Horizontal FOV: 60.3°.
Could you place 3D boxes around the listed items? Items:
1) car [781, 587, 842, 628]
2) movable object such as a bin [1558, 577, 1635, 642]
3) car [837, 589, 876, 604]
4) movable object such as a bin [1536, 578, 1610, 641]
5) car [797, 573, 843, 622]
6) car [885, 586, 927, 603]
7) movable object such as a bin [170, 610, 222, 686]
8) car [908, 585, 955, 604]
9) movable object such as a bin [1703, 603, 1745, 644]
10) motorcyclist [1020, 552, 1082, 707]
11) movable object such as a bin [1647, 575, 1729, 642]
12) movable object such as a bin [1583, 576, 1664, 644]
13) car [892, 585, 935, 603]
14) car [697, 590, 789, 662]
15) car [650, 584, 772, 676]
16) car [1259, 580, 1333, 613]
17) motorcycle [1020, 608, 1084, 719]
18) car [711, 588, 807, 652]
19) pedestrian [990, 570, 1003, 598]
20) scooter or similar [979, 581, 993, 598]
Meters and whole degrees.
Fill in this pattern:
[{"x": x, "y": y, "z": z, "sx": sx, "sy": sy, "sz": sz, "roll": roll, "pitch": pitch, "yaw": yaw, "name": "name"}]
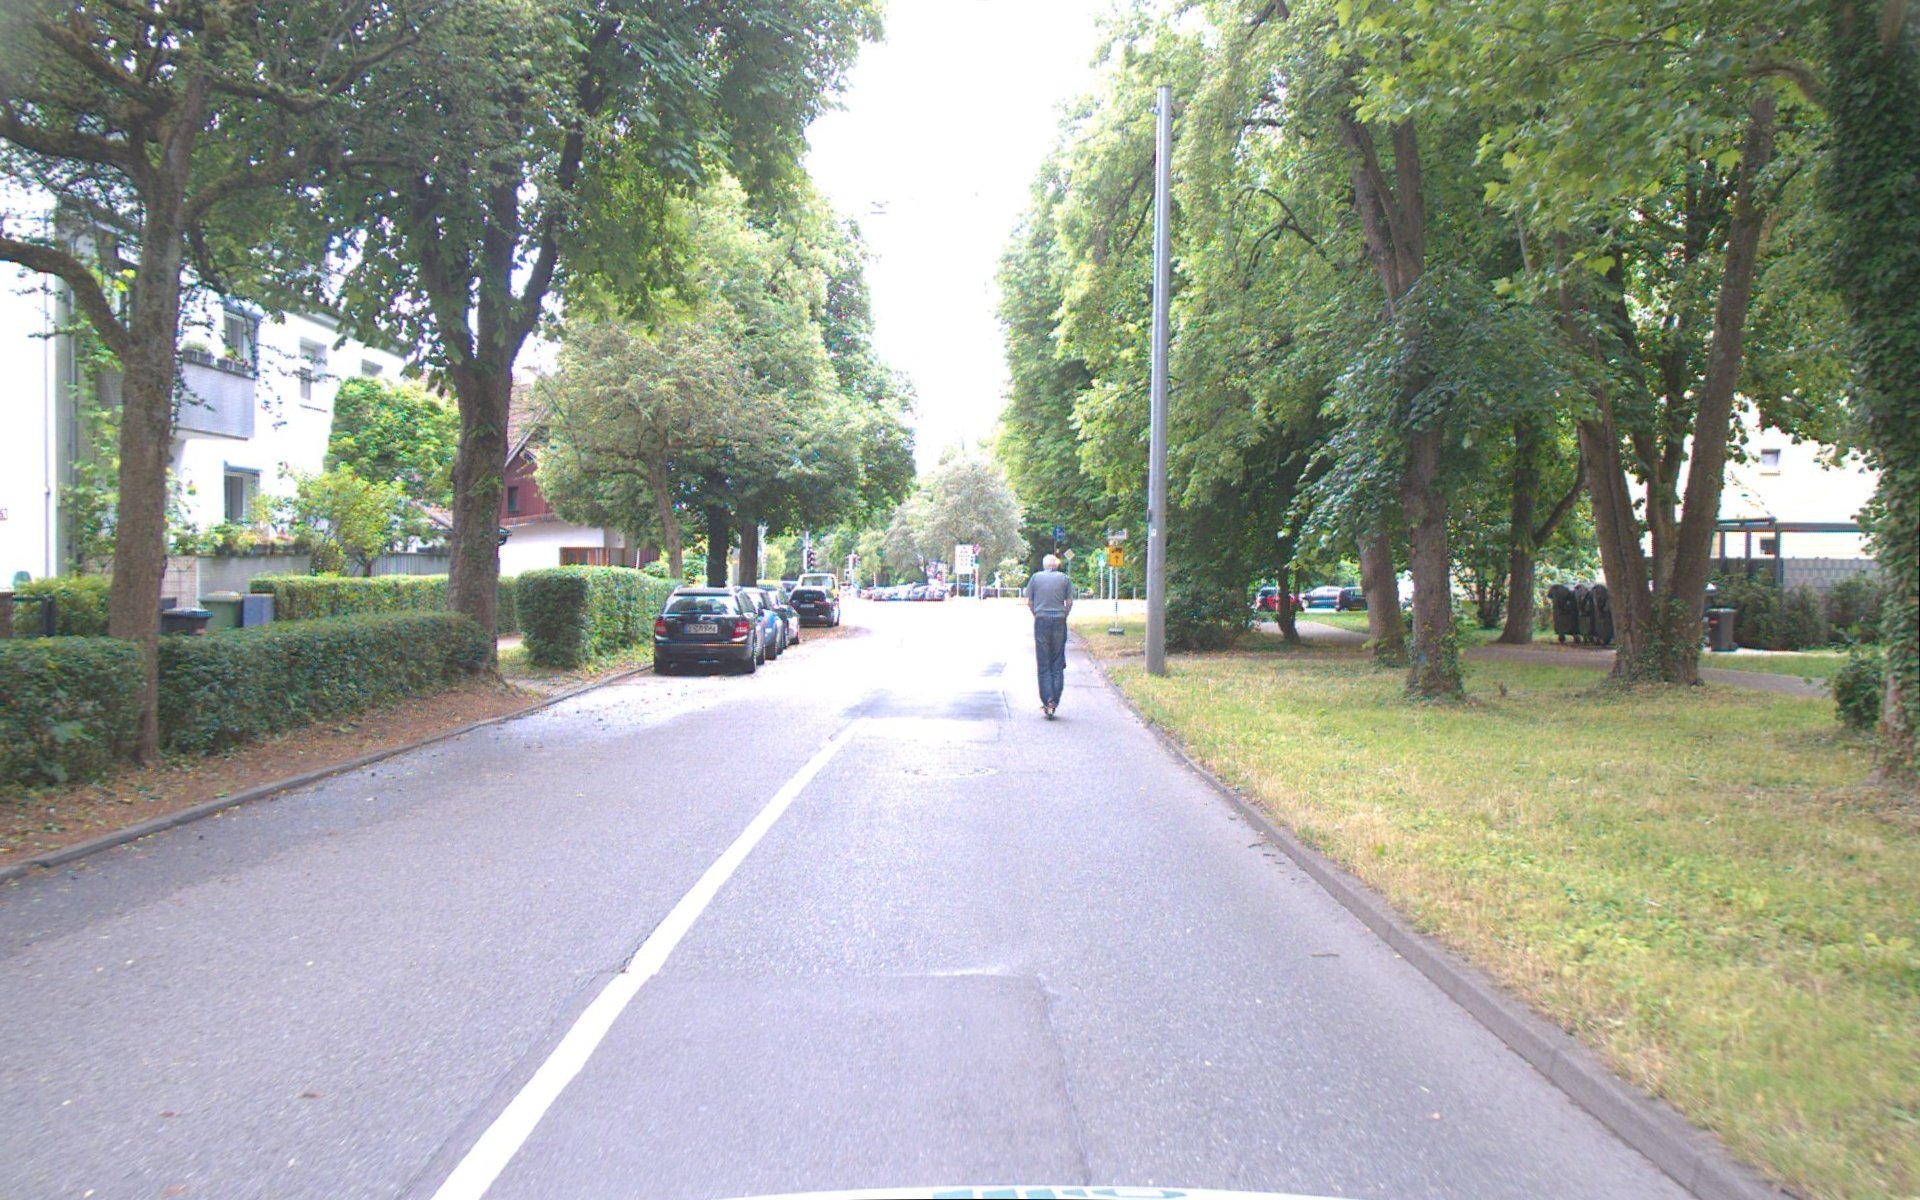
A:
[{"x": -5.366, "y": 0.264, "z": 60.368, "sx": 1.853, "sy": 1.435, "sz": 4.553, "roll": -1, "pitch": 0, "yaw": -1, "name": "car"}, {"x": 15.372, "y": 0.225, "z": 39.980, "sx": 1.300, "sy": 1.527, "sz": 1.313, "roll": -1, "pitch": 0, "yaw": -4, "name": "movable object such as a bin"}, {"x": -10.557, "y": -0.363, "z": 168.486, "sx": 3.908, "sy": 1.536, "sz": 1.799, "roll": -1, "pitch": 0, "yaw": -4, "name": "car"}, {"x": 15.302, "y": 0.224, "z": 41.342, "sx": 1.300, "sy": 1.527, "sz": 1.313, "roll": -1, "pitch": 0, "yaw": -4, "name": "movable object such as a bin"}, {"x": -6.066, "y": -0.097, "z": 71.377, "sx": 1.822, "sy": 1.998, "sz": 4.498, "roll": -1, "pitch": 0, "yaw": -6, "name": "car"}, {"x": -5.036, "y": -0.556, "z": 154.142, "sx": 3.908, "sy": 1.536, "sz": 1.799, "roll": -1, "pitch": 0, "yaw": -4, "name": "car"}, {"x": -9.555, "y": 0.596, "z": 20.685, "sx": 0.447, "sy": 0.931, "sz": 0.507, "roll": -1, "pitch": 0, "yaw": -7, "name": "movable object such as a bin"}, {"x": -2.459, "y": -0.486, "z": 141.591, "sx": 3.908, "sy": 1.536, "sz": 1.799, "roll": -1, "pitch": 0, "yaw": -4, "name": "car"}, {"x": 16.947, "y": 0.512, "z": 36.697, "sx": 0.587, "sy": 0.893, "sz": 0.668, "roll": -1, "pitch": 0, "yaw": -4, "name": "movable object such as a bin"}, {"x": 1.074, "y": 0.343, "z": 19.631, "sx": 0.659, "sy": 1.792, "sz": 0.639, "roll": 1, "pitch": 0, "yaw": 0, "name": "motorcyclist"}, {"x": 17.029, "y": 0.186, "z": 38.720, "sx": 1.300, "sy": 1.527, "sz": 1.313, "roll": -1, "pitch": 0, "yaw": -4, "name": "movable object such as a bin"}, {"x": 15.449, "y": 0.227, "z": 38.544, "sx": 1.300, "sy": 1.527, "sz": 1.313, "roll": -1, "pitch": 0, "yaw": -4, "name": "movable object such as a bin"}, {"x": -4.276, "y": -0.556, "z": 152.264, "sx": 3.908, "sy": 1.536, "sz": 1.799, "roll": -1, "pitch": 0, "yaw": -4, "name": "car"}, {"x": -4.470, "y": 0.499, "z": 34.515, "sx": 1.631, "sy": 1.416, "sz": 3.704, "roll": -1, "pitch": 0, "yaw": -3, "name": "car"}, {"x": -4.354, "y": 0.480, "z": 29.488, "sx": 1.758, "sy": 1.498, "sz": 4.415, "roll": -1, "pitch": 0, "yaw": -3, "name": "car"}, {"x": 18.316, "y": -0.182, "z": 90.202, "sx": 3.902, "sy": 1.584, "sz": 1.802, "roll": 2, "pitch": 3, "yaw": 11, "name": "car"}, {"x": 1.069, "y": 0.726, "z": 19.499, "sx": 0.659, "sy": 1.239, "sz": 1.274, "roll": 1, "pitch": 0, "yaw": 0, "name": "motorcycle"}, {"x": -4.808, "y": 0.444, "z": 40.147, "sx": 1.757, "sy": 1.435, "sz": 4.644, "roll": 0, "pitch": 0, "yaw": 0, "name": "car"}, {"x": 2.395, "y": -1.050, "z": 108.771, "sx": 0.717, "sy": 1.792, "sz": 0.662, "roll": 0, "pitch": 0, "yaw": 18, "name": "pedestrian"}, {"x": 1.699, "y": -0.686, "z": 109.014, "sx": 0.695, "sy": 1.067, "sz": 0.788, "roll": 0, "pitch": 0, "yaw": 18, "name": "scooter or similar"}]
